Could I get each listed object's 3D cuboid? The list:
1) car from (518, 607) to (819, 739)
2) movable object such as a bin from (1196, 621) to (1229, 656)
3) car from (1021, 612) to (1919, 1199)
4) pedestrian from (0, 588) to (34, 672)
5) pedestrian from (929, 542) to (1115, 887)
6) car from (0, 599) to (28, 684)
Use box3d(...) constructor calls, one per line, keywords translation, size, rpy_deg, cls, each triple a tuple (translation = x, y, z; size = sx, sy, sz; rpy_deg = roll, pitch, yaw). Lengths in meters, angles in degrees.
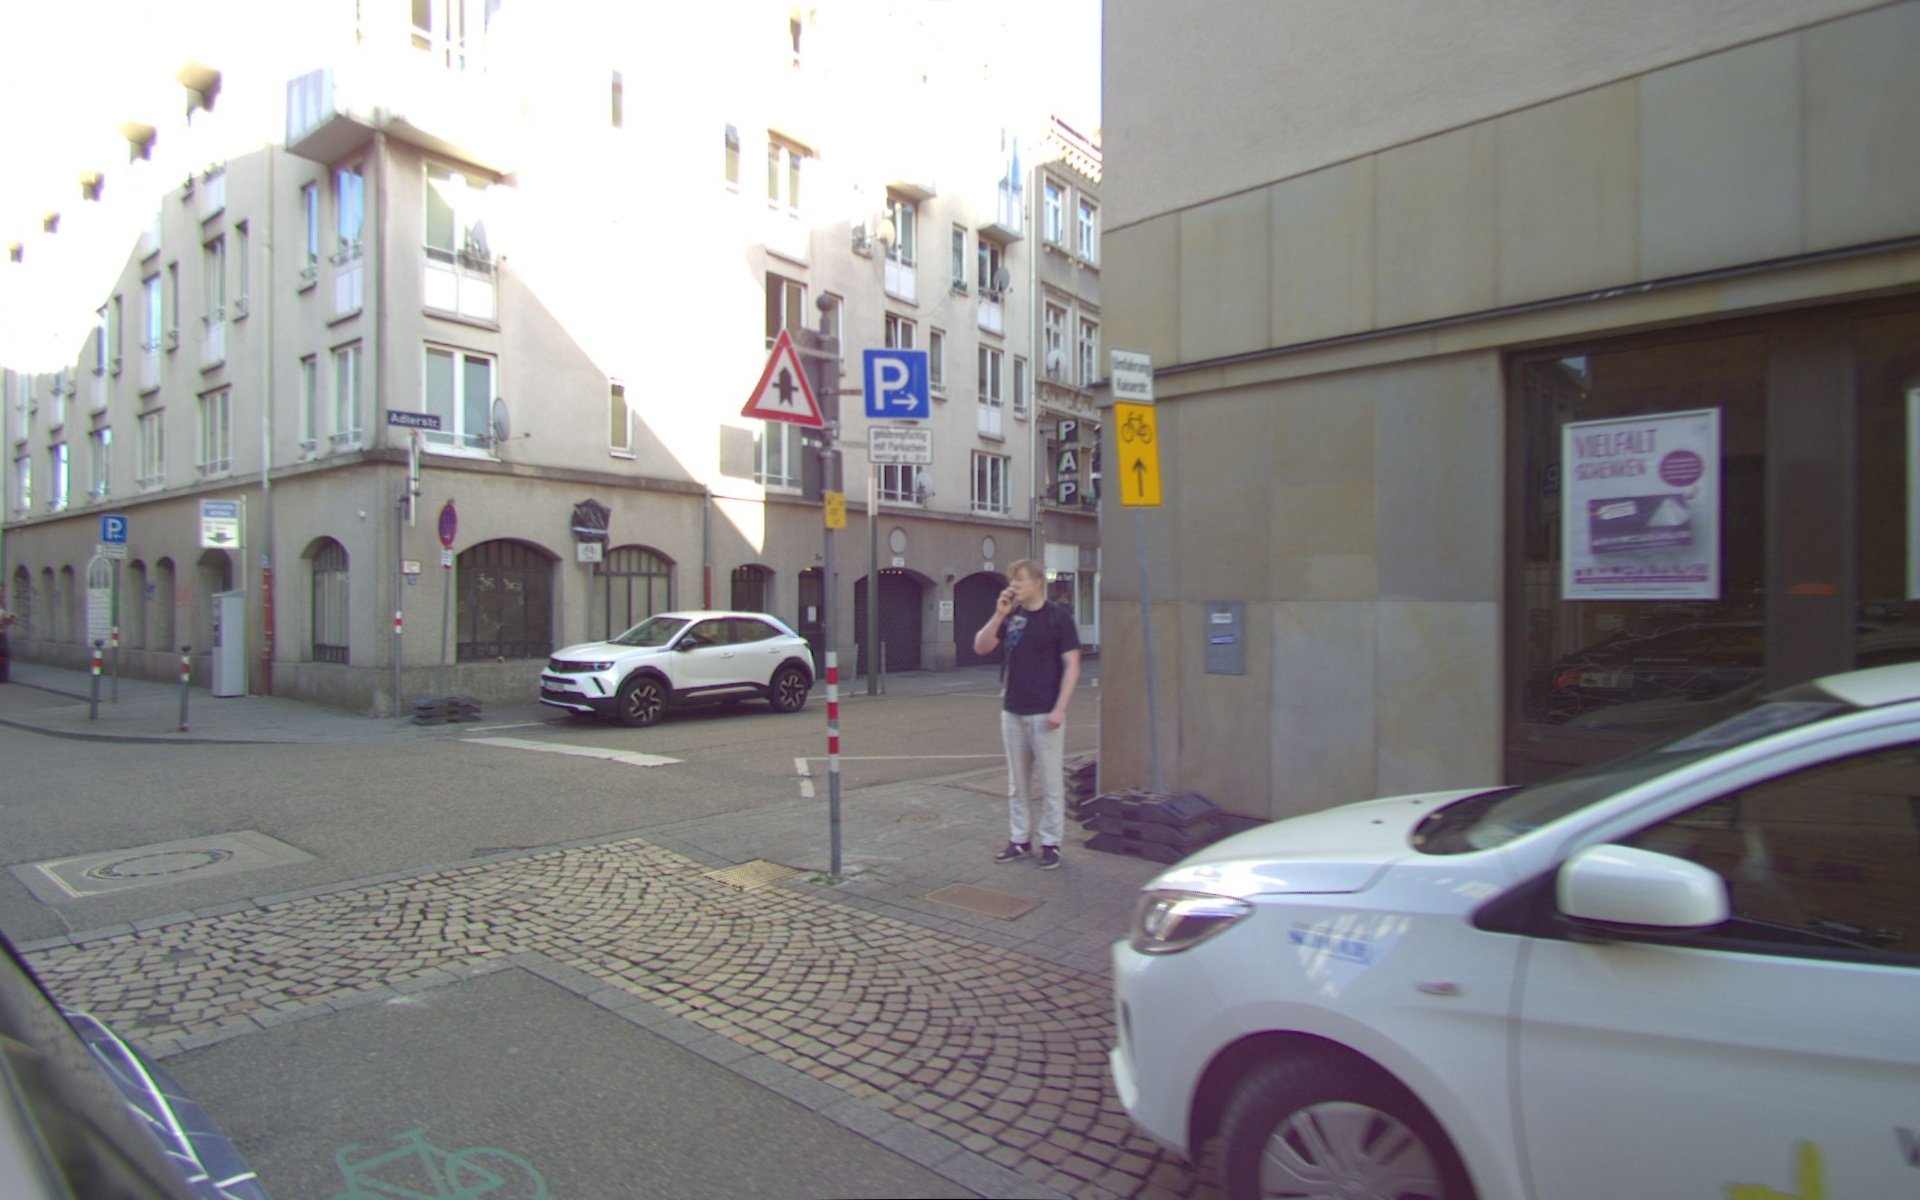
box3d(translation=(-4.140, 0.938, 14.813), size=(1.743, 1.605, 3.913), rpy_deg=(1, 1, 42), cls="car")
box3d(translation=(8.369, 1.266, 33.545), size=(0.835, 1.055, 0.746), rpy_deg=(0, 3, 34), cls="movable object such as a bin")
box3d(translation=(2.164, 0.785, 2.142), size=(3.795, 1.504, 1.720), rpy_deg=(-1, -1, 39), cls="car")
box3d(translation=(-23.410, 0.729, 24.787), size=(0.697, 2.029, 0.927), rpy_deg=(-1, 0, 34), cls="pedestrian")
box3d(translation=(0.379, 0.622, 6.055), size=(0.716, 1.868, 0.850), rpy_deg=(1, 0, 42), cls="pedestrian")
box3d(translation=(-21.220, 0.833, 21.140), size=(3.994, 1.717, 1.866), rpy_deg=(-1, -2, 37), cls="car")
